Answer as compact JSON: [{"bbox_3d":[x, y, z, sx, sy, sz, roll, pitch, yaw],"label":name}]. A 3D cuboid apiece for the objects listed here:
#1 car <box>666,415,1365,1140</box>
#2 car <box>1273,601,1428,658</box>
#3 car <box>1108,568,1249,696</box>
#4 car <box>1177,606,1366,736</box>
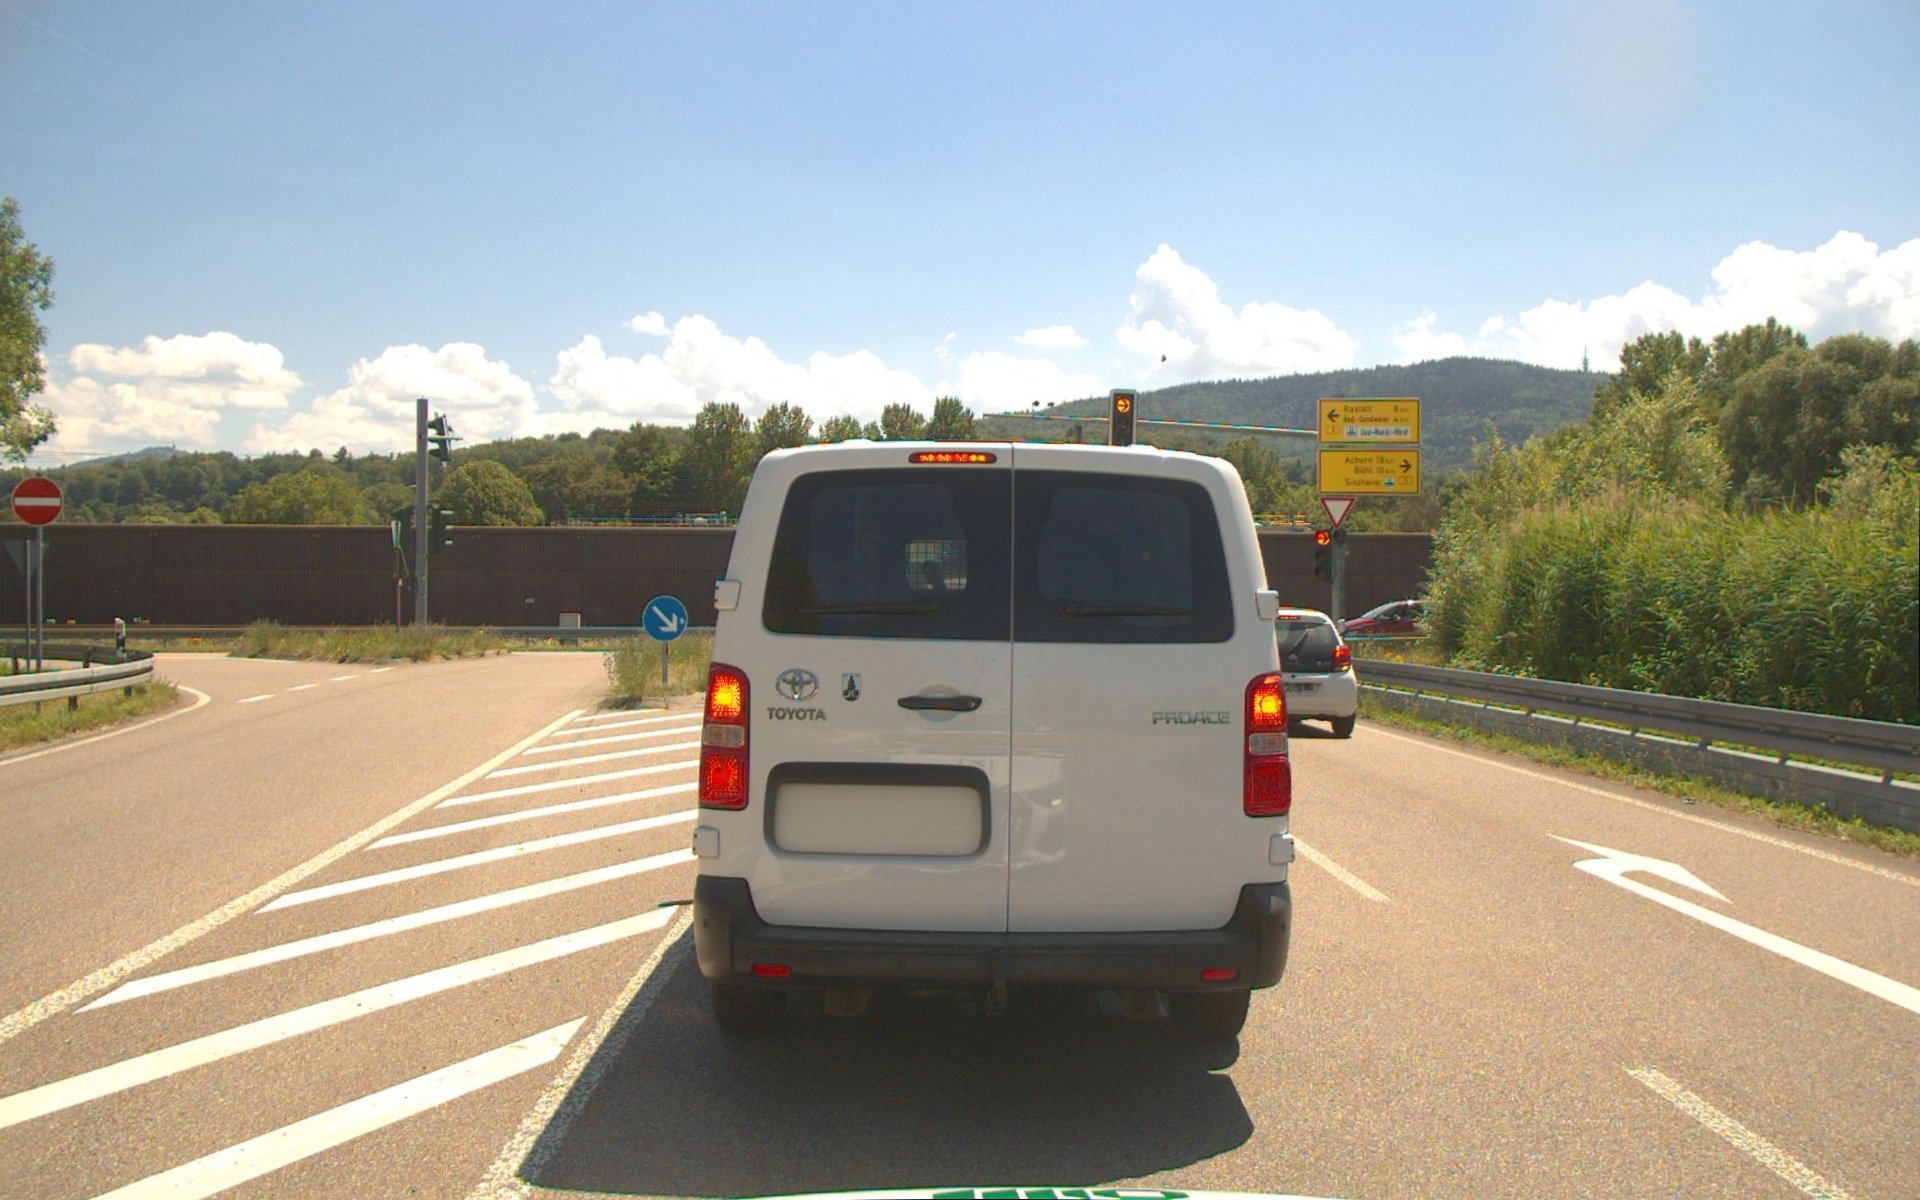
[{"bbox_3d":[0.114,0.488,6.441,1.848,1.919,3.999,1,0,-1],"label":"car"},{"bbox_3d":[11.953,0.889,50.809,4.225,1.685,1.998,1,0,-4],"label":"car"},{"bbox_3d":[3.744,0.521,29.079,1.889,2.035,4.838,1,0,1],"label":"car"},{"bbox_3d":[3.766,0.815,20.500,1.622,1.456,3.364,1,0,-1],"label":"car"}]
